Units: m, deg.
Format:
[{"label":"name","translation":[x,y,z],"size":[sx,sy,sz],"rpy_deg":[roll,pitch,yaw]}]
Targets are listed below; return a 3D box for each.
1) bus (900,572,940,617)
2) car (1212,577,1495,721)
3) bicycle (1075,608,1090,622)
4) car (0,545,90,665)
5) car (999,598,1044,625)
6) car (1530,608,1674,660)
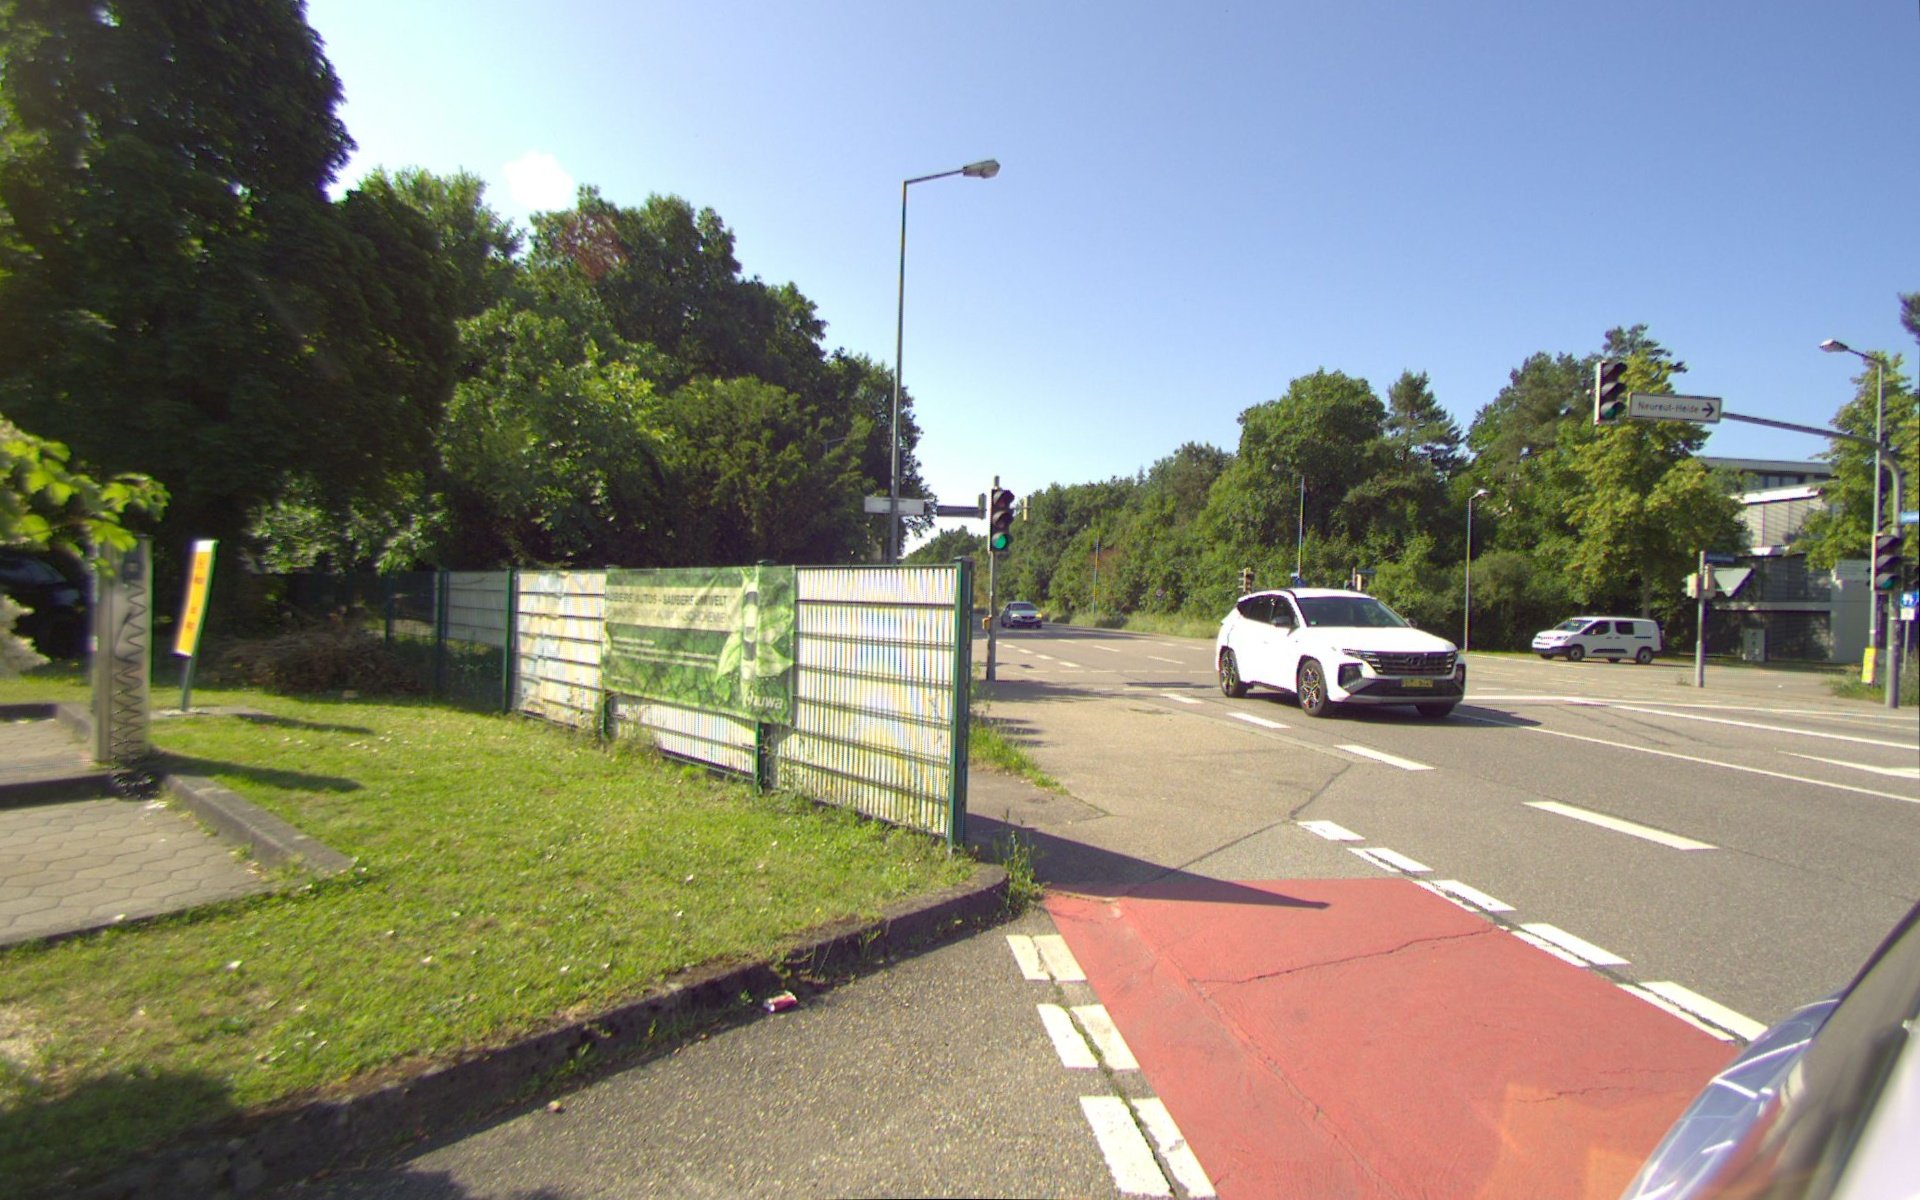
[{"label":"bus","translation":[-3.360,-0.471,83.479],"size":[2.728,3.500,7.804],"rpy_deg":[0,1,-6]},{"label":"car","translation":[5.162,0.565,14.017],"size":[1.777,1.669,4.313],"rpy_deg":[0,0,-8]},{"label":"bicycle","translation":[10.882,1.294,89.989],"size":[0.720,1.178,2.376],"rpy_deg":[2,0,-8]},{"label":"car","translation":[-12.976,0.043,12.381],"size":[1.649,1.530,3.945],"rpy_deg":[2,0,-8]},{"label":"car","translation":[3.352,0.607,55.907],"size":[1.754,1.442,4.427],"rpy_deg":[0,0,-6]},{"label":"car","translation":[25.443,1.325,40.164],"size":[4.568,1.800,1.854],"rpy_deg":[3,0,-5]}]
